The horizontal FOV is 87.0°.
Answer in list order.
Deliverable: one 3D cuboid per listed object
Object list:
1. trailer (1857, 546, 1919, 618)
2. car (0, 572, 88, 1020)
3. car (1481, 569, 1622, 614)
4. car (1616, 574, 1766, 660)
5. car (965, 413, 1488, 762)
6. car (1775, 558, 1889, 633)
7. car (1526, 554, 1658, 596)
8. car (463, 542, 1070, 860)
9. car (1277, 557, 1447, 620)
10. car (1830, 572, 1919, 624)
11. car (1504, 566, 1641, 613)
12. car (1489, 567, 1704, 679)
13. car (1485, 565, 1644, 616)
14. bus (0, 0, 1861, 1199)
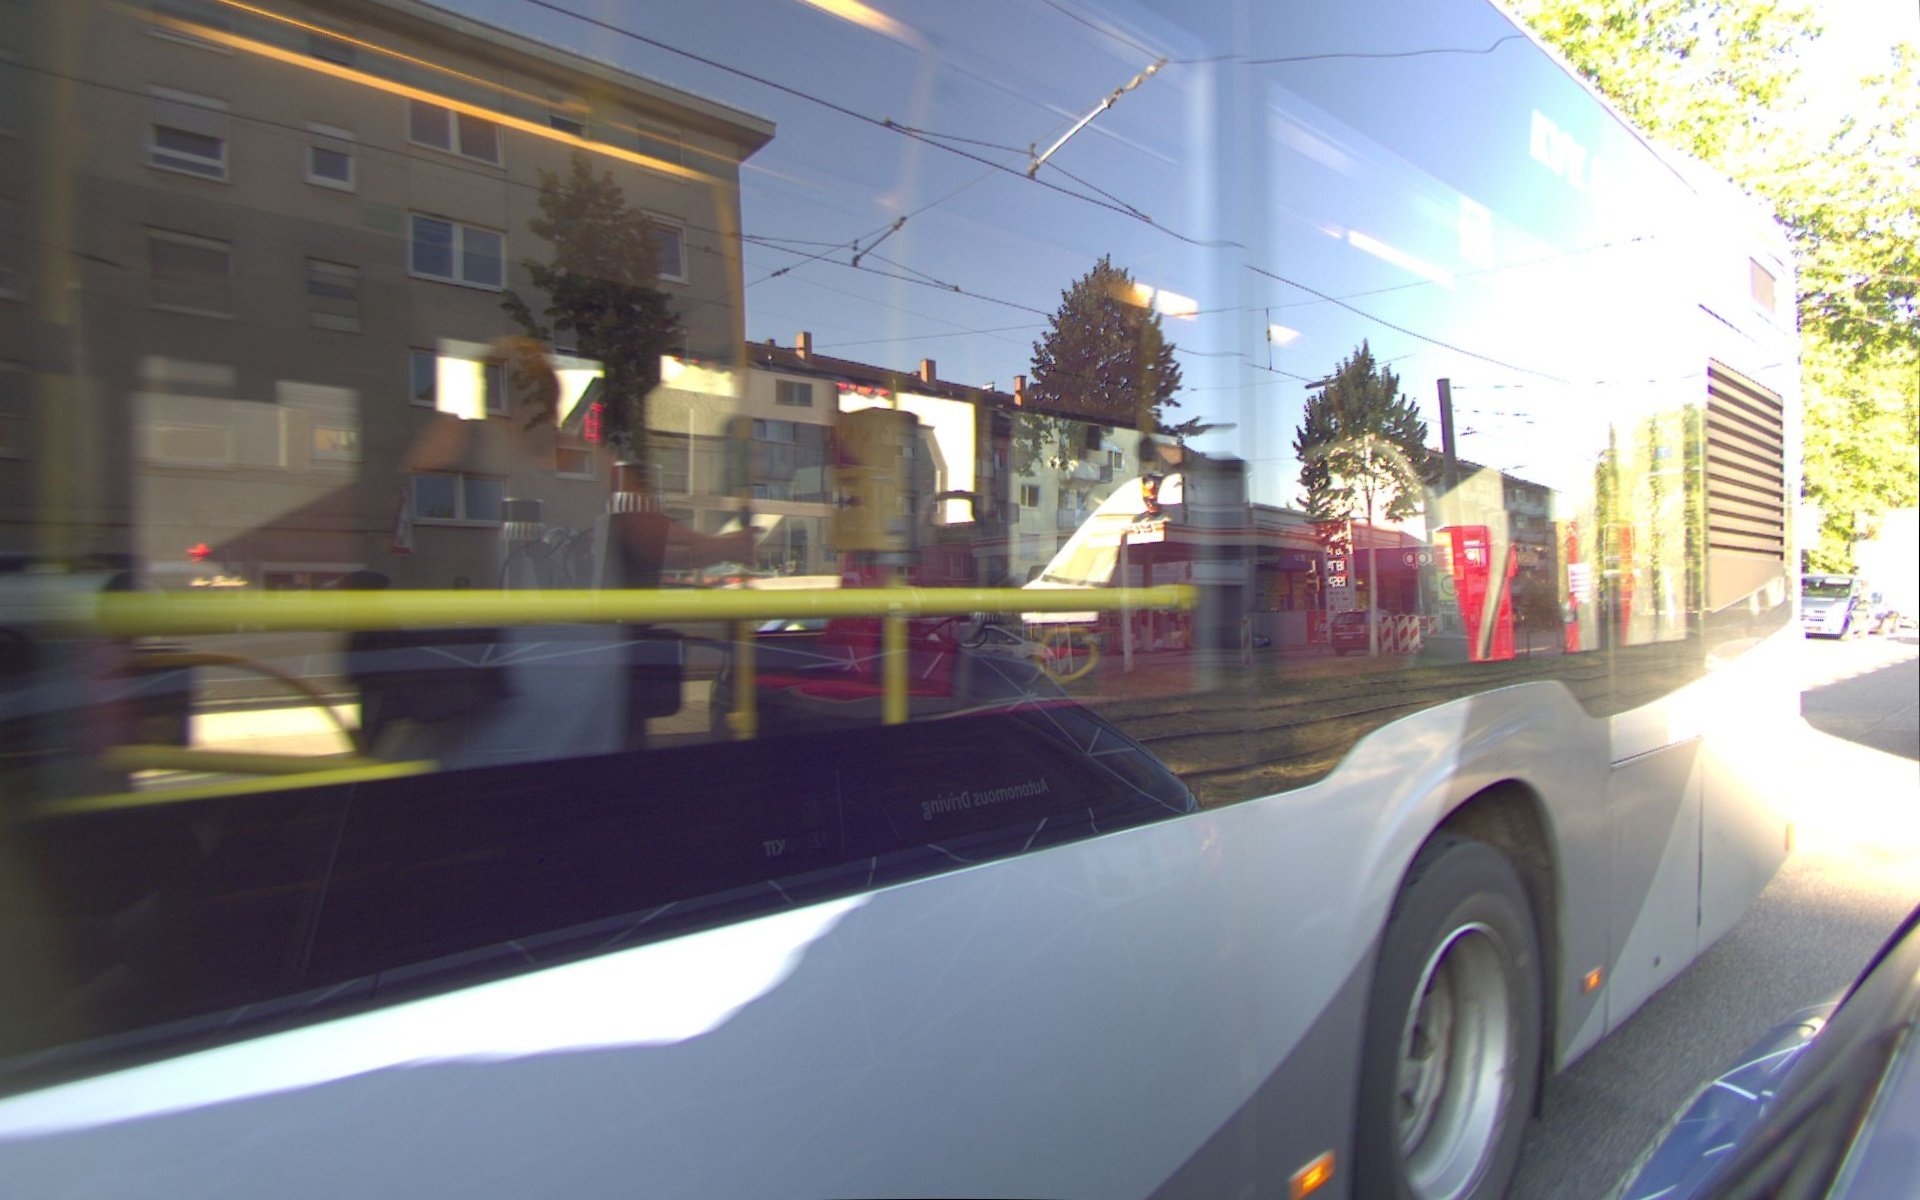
[{"bbox_3d":[36.382,-0.716,39.106,4.569,2.620,1.889,-1,2,-40],"label":"trailer"},{"bbox_3d":[-5.432,0.697,3.084,4.155,1.555,1.843,-1,3,-40],"label":"car"},{"bbox_3d":[21.739,-0.349,37.319,1.770,1.513,4.123,0,2,-38],"label":"car"},{"bbox_3d":[14.805,0.280,20.447,3.562,1.512,1.573,-1,5,-40],"label":"car"},{"bbox_3d":[2.912,-0.206,10.095,5.683,2.581,2.022,-1,6,-40],"label":"car"},{"bbox_3d":[26.422,-0.181,30.609,4.482,2.104,1.889,-1,2,-40],"label":"car"},{"bbox_3d":[25.152,-0.939,40.385,1.770,1.570,4.121,0,0,-38],"label":"car"},{"bbox_3d":[-1.202,0.457,7.019,3.718,1.607,1.843,-1,3,-40],"label":"car"},{"bbox_3d":[11.098,-0.271,28.135,1.824,1.621,4.027,0,-1,-41],"label":"car"},{"bbox_3d":[31.399,-0.099,34.669,3.929,1.650,1.799,-1,2,-40],"label":"car"},{"bbox_3d":[23.489,-0.444,38.905,1.770,1.618,4.123,0,2,-38],"label":"car"},{"bbox_3d":[10.793,0.302,17.029,4.570,1.549,1.701,-1,5,-40],"label":"car"},{"bbox_3d":[19.825,-0.358,33.332,1.770,1.513,4.123,0,2,-38],"label":"car"},{"bbox_3d":[-0.432,-0.123,2.464,8.697,3.094,2.744,-1,1,-40],"label":"bus"}]
